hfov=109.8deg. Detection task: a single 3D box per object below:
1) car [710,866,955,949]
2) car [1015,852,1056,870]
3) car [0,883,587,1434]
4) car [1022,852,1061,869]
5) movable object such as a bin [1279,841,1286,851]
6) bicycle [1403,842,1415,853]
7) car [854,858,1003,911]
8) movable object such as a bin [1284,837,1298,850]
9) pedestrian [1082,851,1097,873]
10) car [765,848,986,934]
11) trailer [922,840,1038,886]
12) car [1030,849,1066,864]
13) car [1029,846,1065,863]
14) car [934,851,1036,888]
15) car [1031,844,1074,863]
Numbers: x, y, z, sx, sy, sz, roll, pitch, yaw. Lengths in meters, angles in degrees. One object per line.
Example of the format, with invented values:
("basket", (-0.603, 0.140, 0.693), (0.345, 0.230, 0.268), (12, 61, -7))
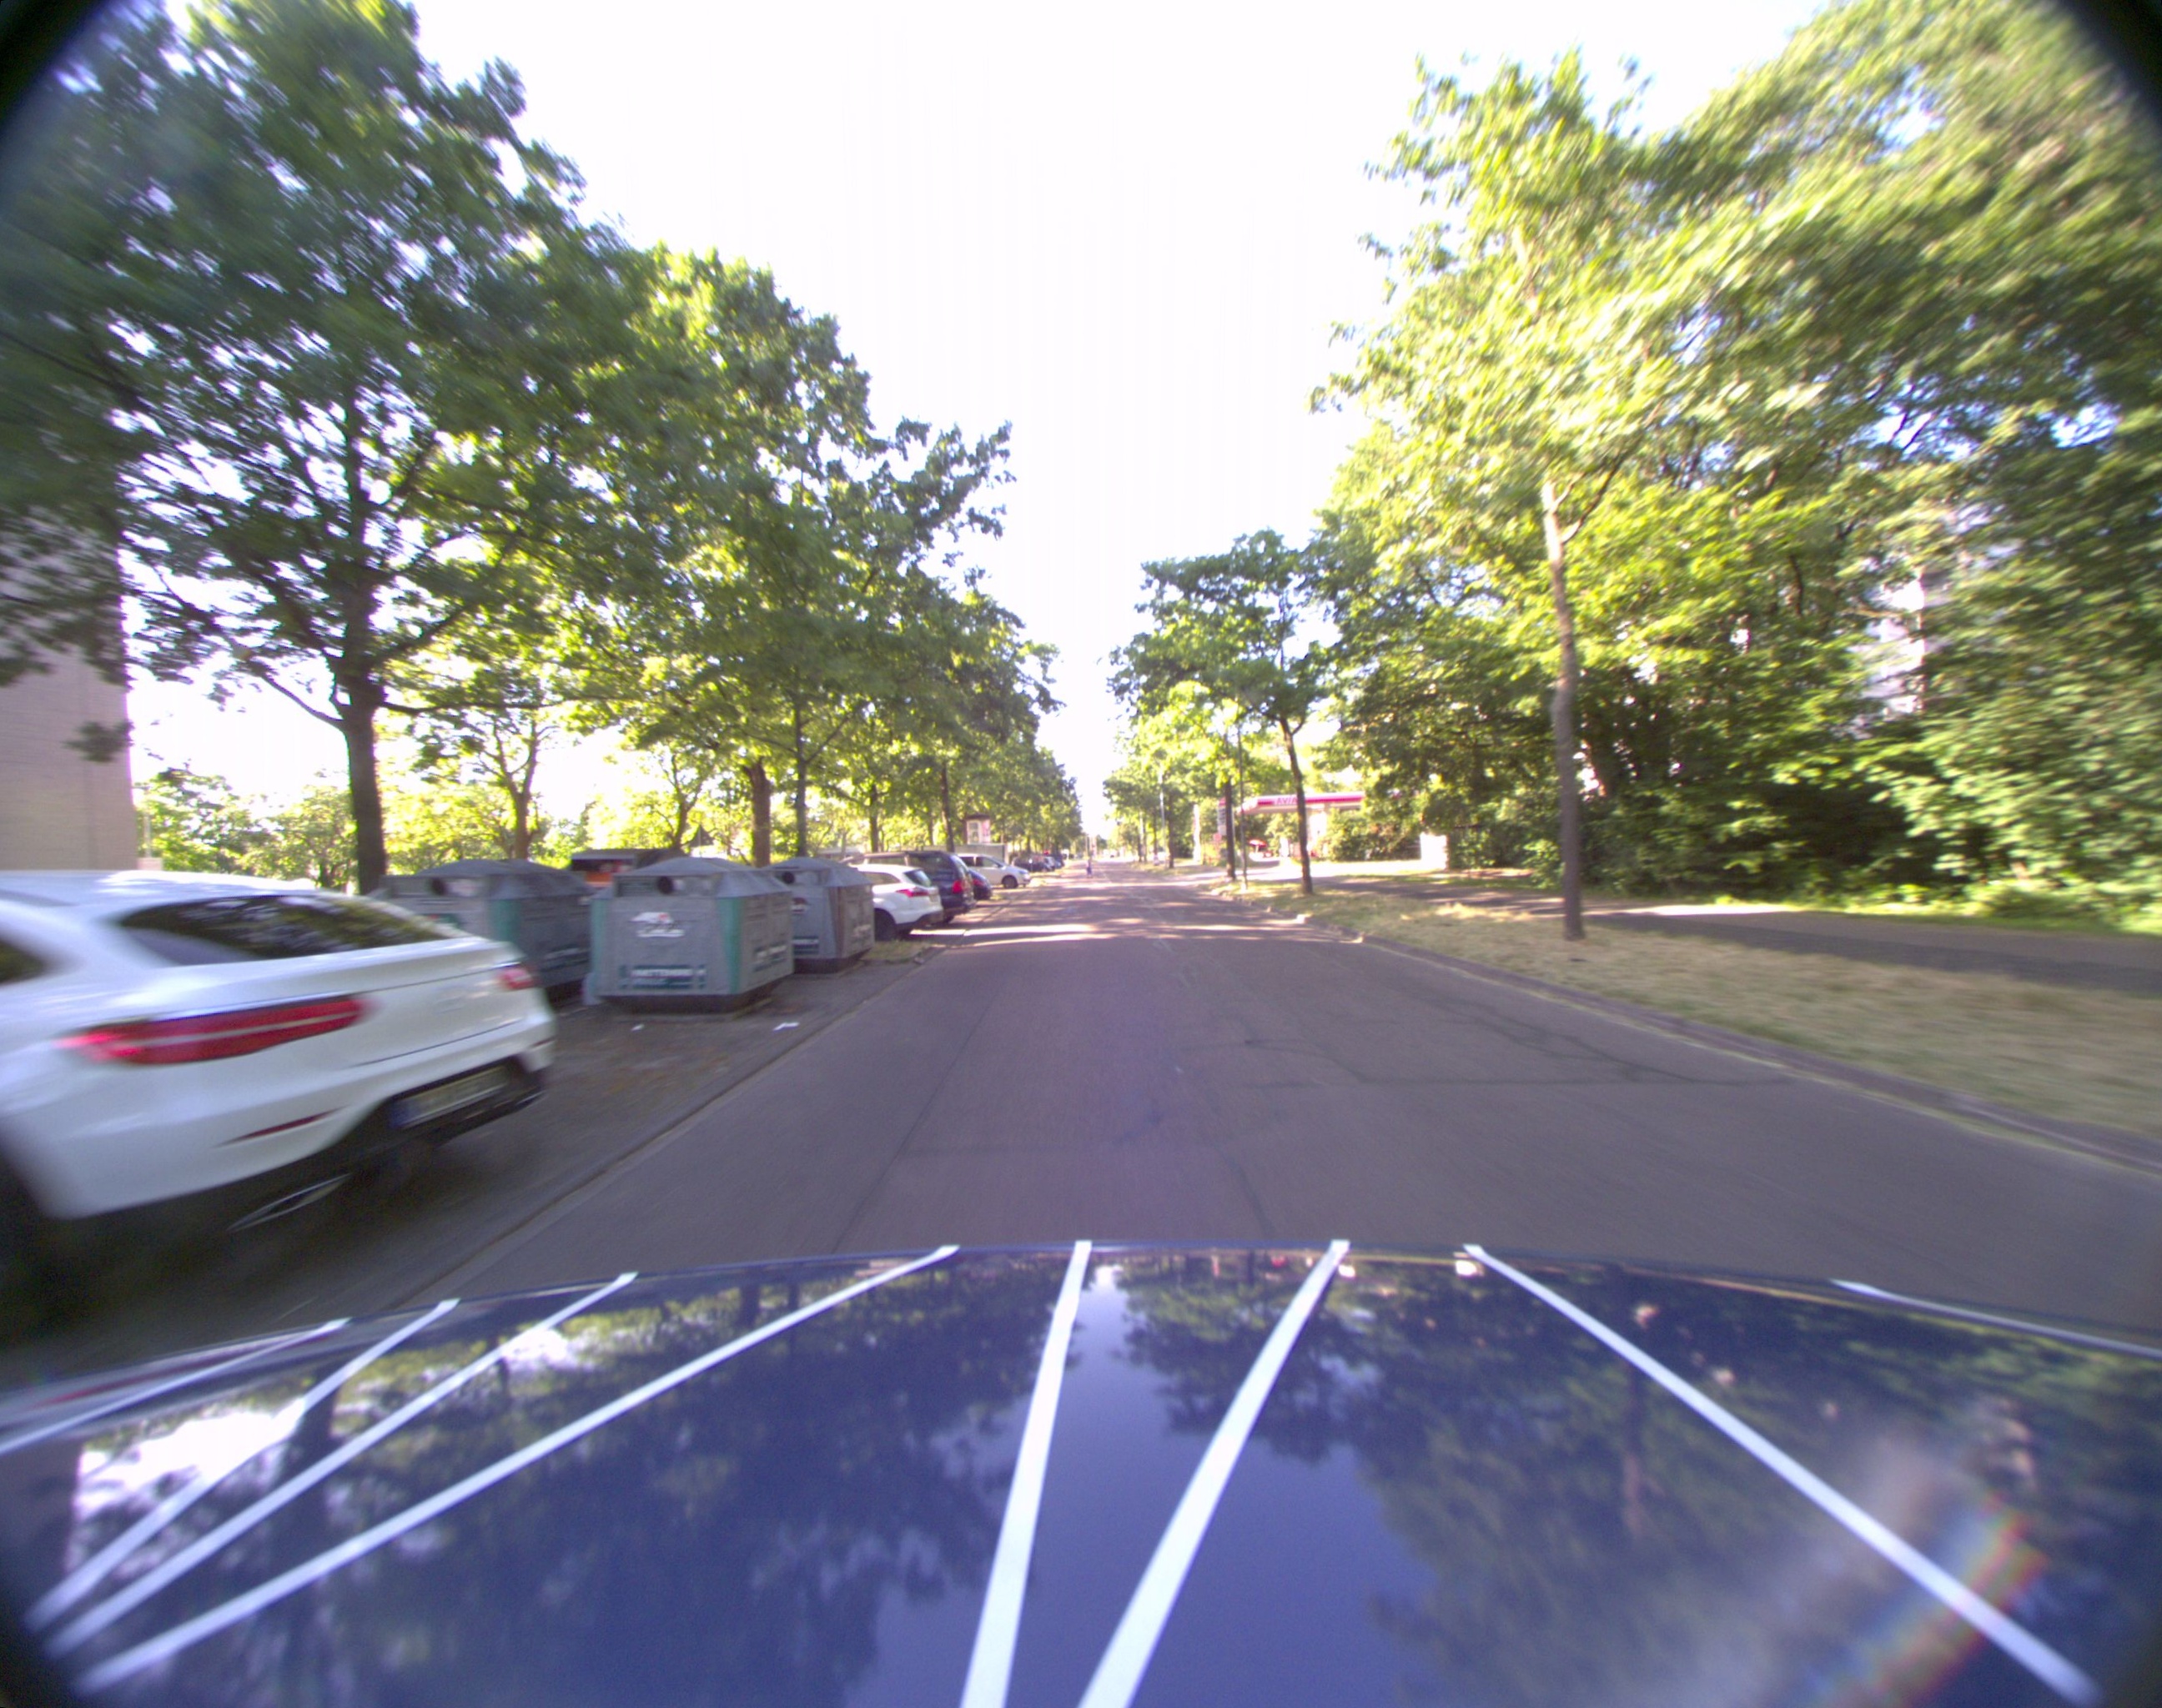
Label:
("car", (-4.811, 1.025, 15.121), (4.231, 1.463, 1.800), (-1, 1, 2))
("car", (-4.156, 0.660, 69.698), (3.592, 1.567, 1.857), (-1, 1, 0))
("car", (-5.106, 0.992, 3.274), (4.682, 1.571, 1.917), (-1, 1, 1))
("car", (-3.866, 0.650, 74.629), (3.592, 1.567, 1.786), (-1, 1, 2))
("movable object such as a bin", (23.377, -0.942, 87.972), (0.570, 1.079, 0.768), (-2, 1, 1))
("bicycle", (25.470, -0.497, 59.015), (0.618, 0.802, 1.782), (-2, 1, 16))
("car", (-4.776, 0.938, 24.293), (4.255, 1.510, 2.078), (-1, 1, 2))
("movable object such as a bin", (24.304, -1.209, 87.897), (1.307, 1.533, 1.268), (-2, 1, 1))
("pedestrian", (0.579, 0.540, 51.215), (0.942, 1.491, 0.885), (-1, 1, 2))
("car", (-4.641, 0.815, 17.638), (4.541, 1.791, 1.936), (-1, 1, 1))
("trailer", (-5.253, 0.447, 39.982), (5.788, 2.304, 1.686), (-1, 1, 3))
("car", (-3.429, 0.283, 79.290), (3.529, 1.523, 1.665), (-1, 1, 2))
("car", (-3.922, 0.053, 87.151), (4.019, 1.826, 1.799), (-1, 1, -2))
("car", (-4.638, 0.726, 37.170), (4.653, 1.712, 1.987), (-1, 1, 1))
("car", (-3.318, -0.048, 89.205), (4.815, 2.020, 1.944), (-2, 1, 0))
